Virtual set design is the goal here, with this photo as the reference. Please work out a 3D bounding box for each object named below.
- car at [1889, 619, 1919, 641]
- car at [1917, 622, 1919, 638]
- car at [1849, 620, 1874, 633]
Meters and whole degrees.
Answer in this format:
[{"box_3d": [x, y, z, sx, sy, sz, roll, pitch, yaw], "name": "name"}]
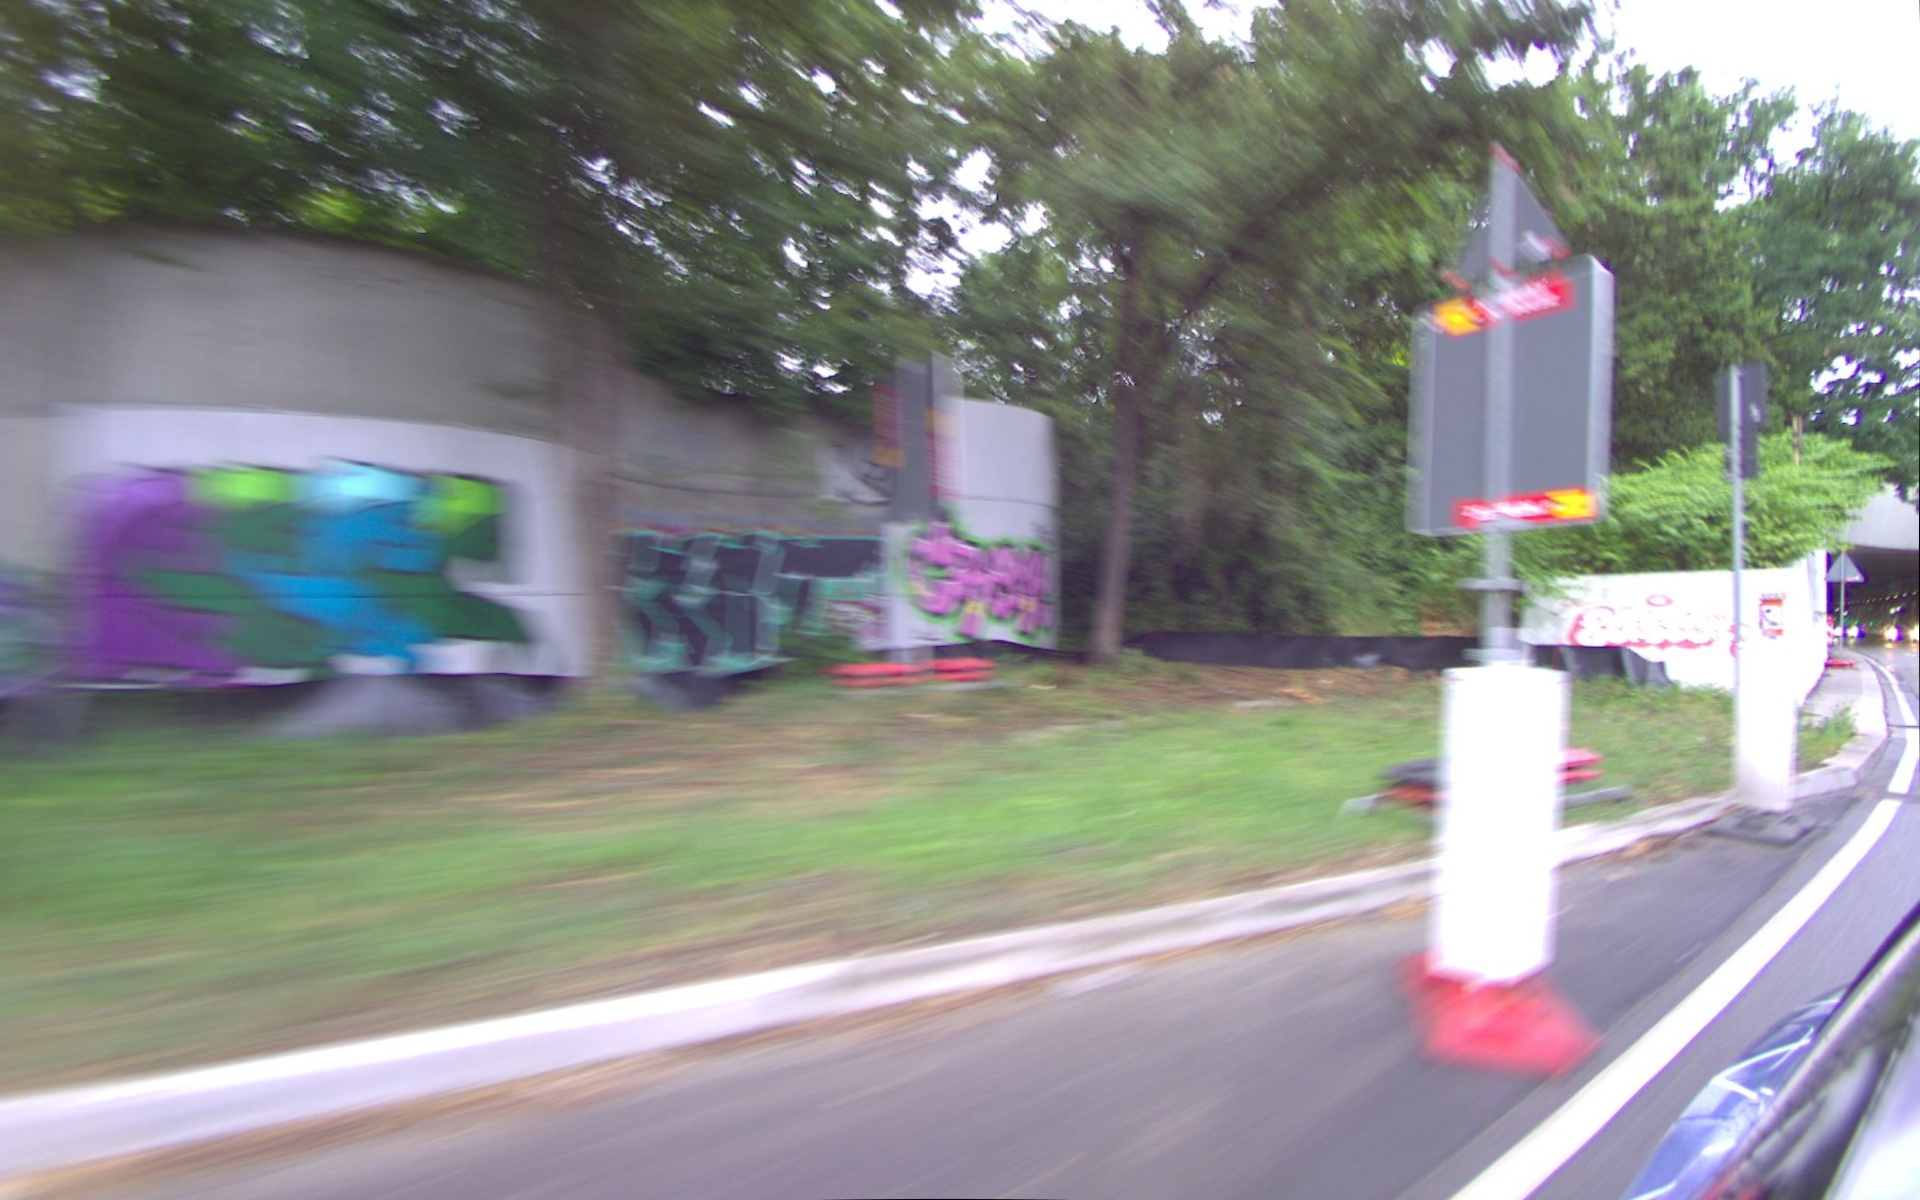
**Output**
[{"box_3d": [69.855, 2.204, 74.700, 1.691, 1.418, 3.771, 1, 1, 39], "name": "car"}, {"box_3d": [84.207, 2.676, 87.573, 1.691, 1.324, 3.771, 1, 1, 39], "name": "car"}, {"box_3d": [100.253, 2.925, 112.576, 1.952, 1.324, 3.770, 1, 1, 40], "name": "car"}]
